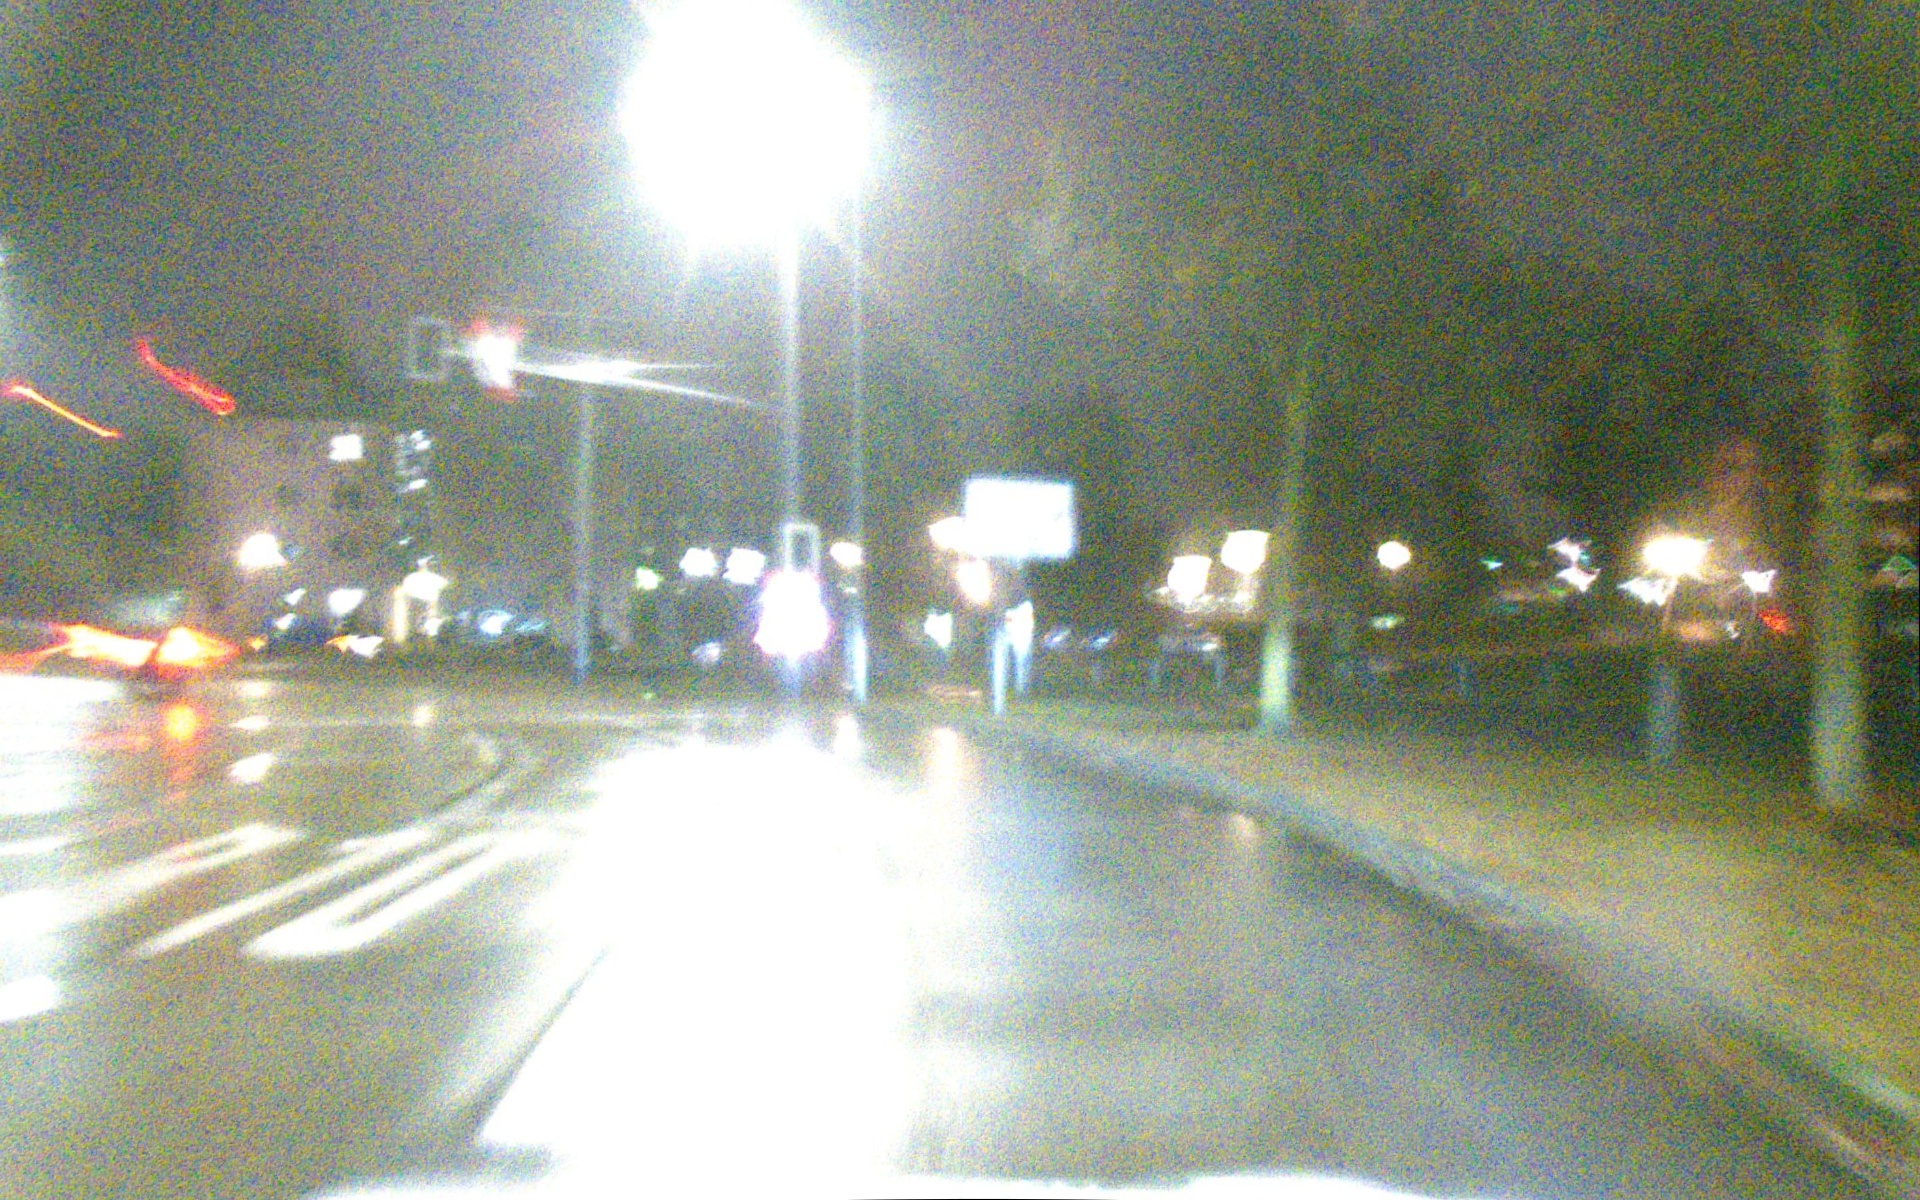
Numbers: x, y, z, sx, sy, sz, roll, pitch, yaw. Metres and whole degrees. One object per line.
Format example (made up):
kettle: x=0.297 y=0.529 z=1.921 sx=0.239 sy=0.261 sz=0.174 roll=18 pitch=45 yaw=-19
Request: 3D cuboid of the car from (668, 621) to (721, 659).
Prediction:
car: x=-11.063 y=1.656 z=68.775 sx=1.689 sy=1.523 sz=3.893 roll=1 pitch=-2 yaw=-17

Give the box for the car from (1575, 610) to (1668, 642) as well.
car: x=33.262 y=1.333 z=83.332 sx=1.689 sy=1.563 sz=4.972 roll=1 pitch=-2 yaw=-16

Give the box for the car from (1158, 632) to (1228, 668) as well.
car: x=10.540 y=2.266 z=74.972 sx=1.689 sy=1.563 sz=3.893 roll=1 pitch=-2 yaw=-17

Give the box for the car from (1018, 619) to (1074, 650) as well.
car: x=4.405 y=1.795 z=85.505 sx=1.689 sy=1.563 sz=3.893 roll=1 pitch=-2 yaw=-17

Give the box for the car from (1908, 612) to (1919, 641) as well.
car: x=53.842 y=1.418 z=89.154 sx=1.689 sy=1.563 sz=4.972 roll=1 pitch=-2 yaw=-16

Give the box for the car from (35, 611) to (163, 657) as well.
car: x=-33.300 y=1.311 z=64.053 sx=3.912 sy=1.713 sz=1.915 roll=1 pitch=-2 yaw=-8

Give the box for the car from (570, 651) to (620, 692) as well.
car: x=-14.850 y=2.927 z=67.219 sx=1.689 sy=1.523 sz=3.892 roll=0 pitch=-4 yaw=-17

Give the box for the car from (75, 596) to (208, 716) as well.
car: x=-15.094 y=1.026 z=30.711 sx=1.967 sy=2.049 sz=4.523 roll=1 pitch=-2 yaw=-24

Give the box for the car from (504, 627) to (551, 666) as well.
car: x=-17.583 y=1.869 z=67.160 sx=1.689 sy=1.523 sz=3.893 roll=1 pitch=-2 yaw=-17

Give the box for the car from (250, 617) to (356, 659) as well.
car: x=-28.026 y=1.629 z=70.698 sx=3.987 sy=1.712 sz=1.785 roll=1 pitch=-2 yaw=-15

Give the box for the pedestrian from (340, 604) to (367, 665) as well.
pedestrian: x=-19.369 y=1.116 z=52.819 sx=0.646 sy=1.935 sz=0.720 roll=2 pitch=-2 yaw=-34

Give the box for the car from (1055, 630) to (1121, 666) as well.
car: x=5.701 y=2.129 z=73.937 sx=1.689 sy=1.563 sz=3.893 roll=1 pitch=-2 yaw=-17
